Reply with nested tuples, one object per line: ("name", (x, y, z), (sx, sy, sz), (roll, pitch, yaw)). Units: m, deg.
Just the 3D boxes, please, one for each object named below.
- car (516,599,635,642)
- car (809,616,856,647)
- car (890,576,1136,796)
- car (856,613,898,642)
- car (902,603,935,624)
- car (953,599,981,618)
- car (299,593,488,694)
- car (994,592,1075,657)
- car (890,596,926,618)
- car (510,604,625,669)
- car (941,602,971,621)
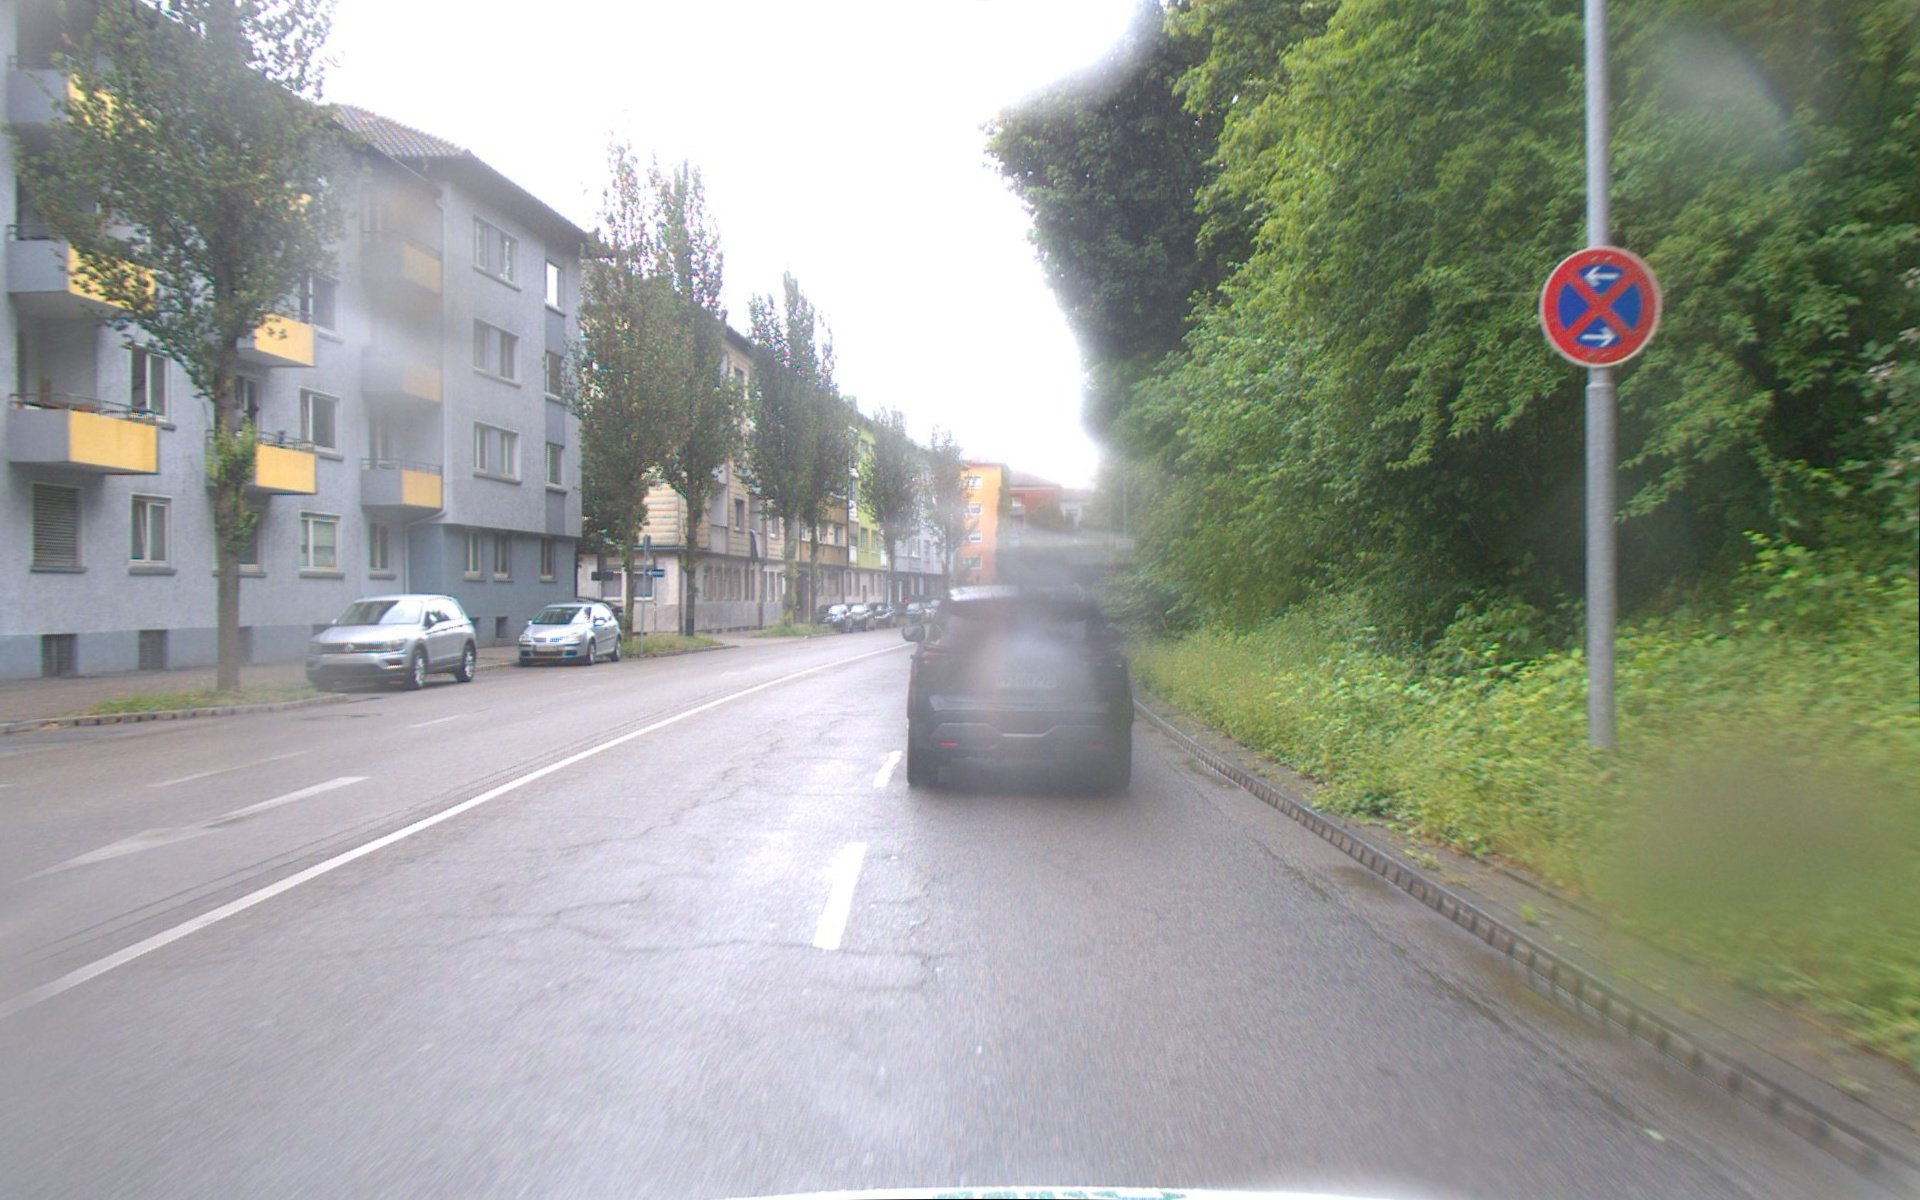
("car", (-14.854, 0.796, 64.067), (4.061, 1.606, 1.928), (0, 0, 5))
("car", (-6.161, 1.518, 80.446), (1.591, 1.411, 3.991), (-1, 0, 6))
("car", (0.407, 0.646, 14.392), (1.807, 1.610, 4.000), (1, 0, 0))
("car", (-4.742, 1.552, 95.253), (1.682, 1.515, 4.518), (-2, 0, 6))
("car", (-2.793, 0.913, 112.865), (1.644, 1.400, 4.003), (-2, 0, 7))
("car", (0.559, 0.721, 136.325), (1.645, 1.474, 4.279), (-3, -1, 9))
("car", (-9.948, 0.710, 29.424), (1.727, 1.632, 4.534), (-1, 0, 1))
("car", (2.152, 0.682, 46.834), (1.847, 1.741, 4.003), (1, 0, 9))
("car", (-3.346, 0.439, 107.143), (1.779, 1.396, 4.683), (-2, 0, 5))
("car", (-9.457, 0.848, 40.152), (1.688, 1.478, 4.206), (-1, 0, 2))
("car", (-0.317, 0.890, 130.735), (1.652, 1.381, 4.583), (-3, 0, 8))
